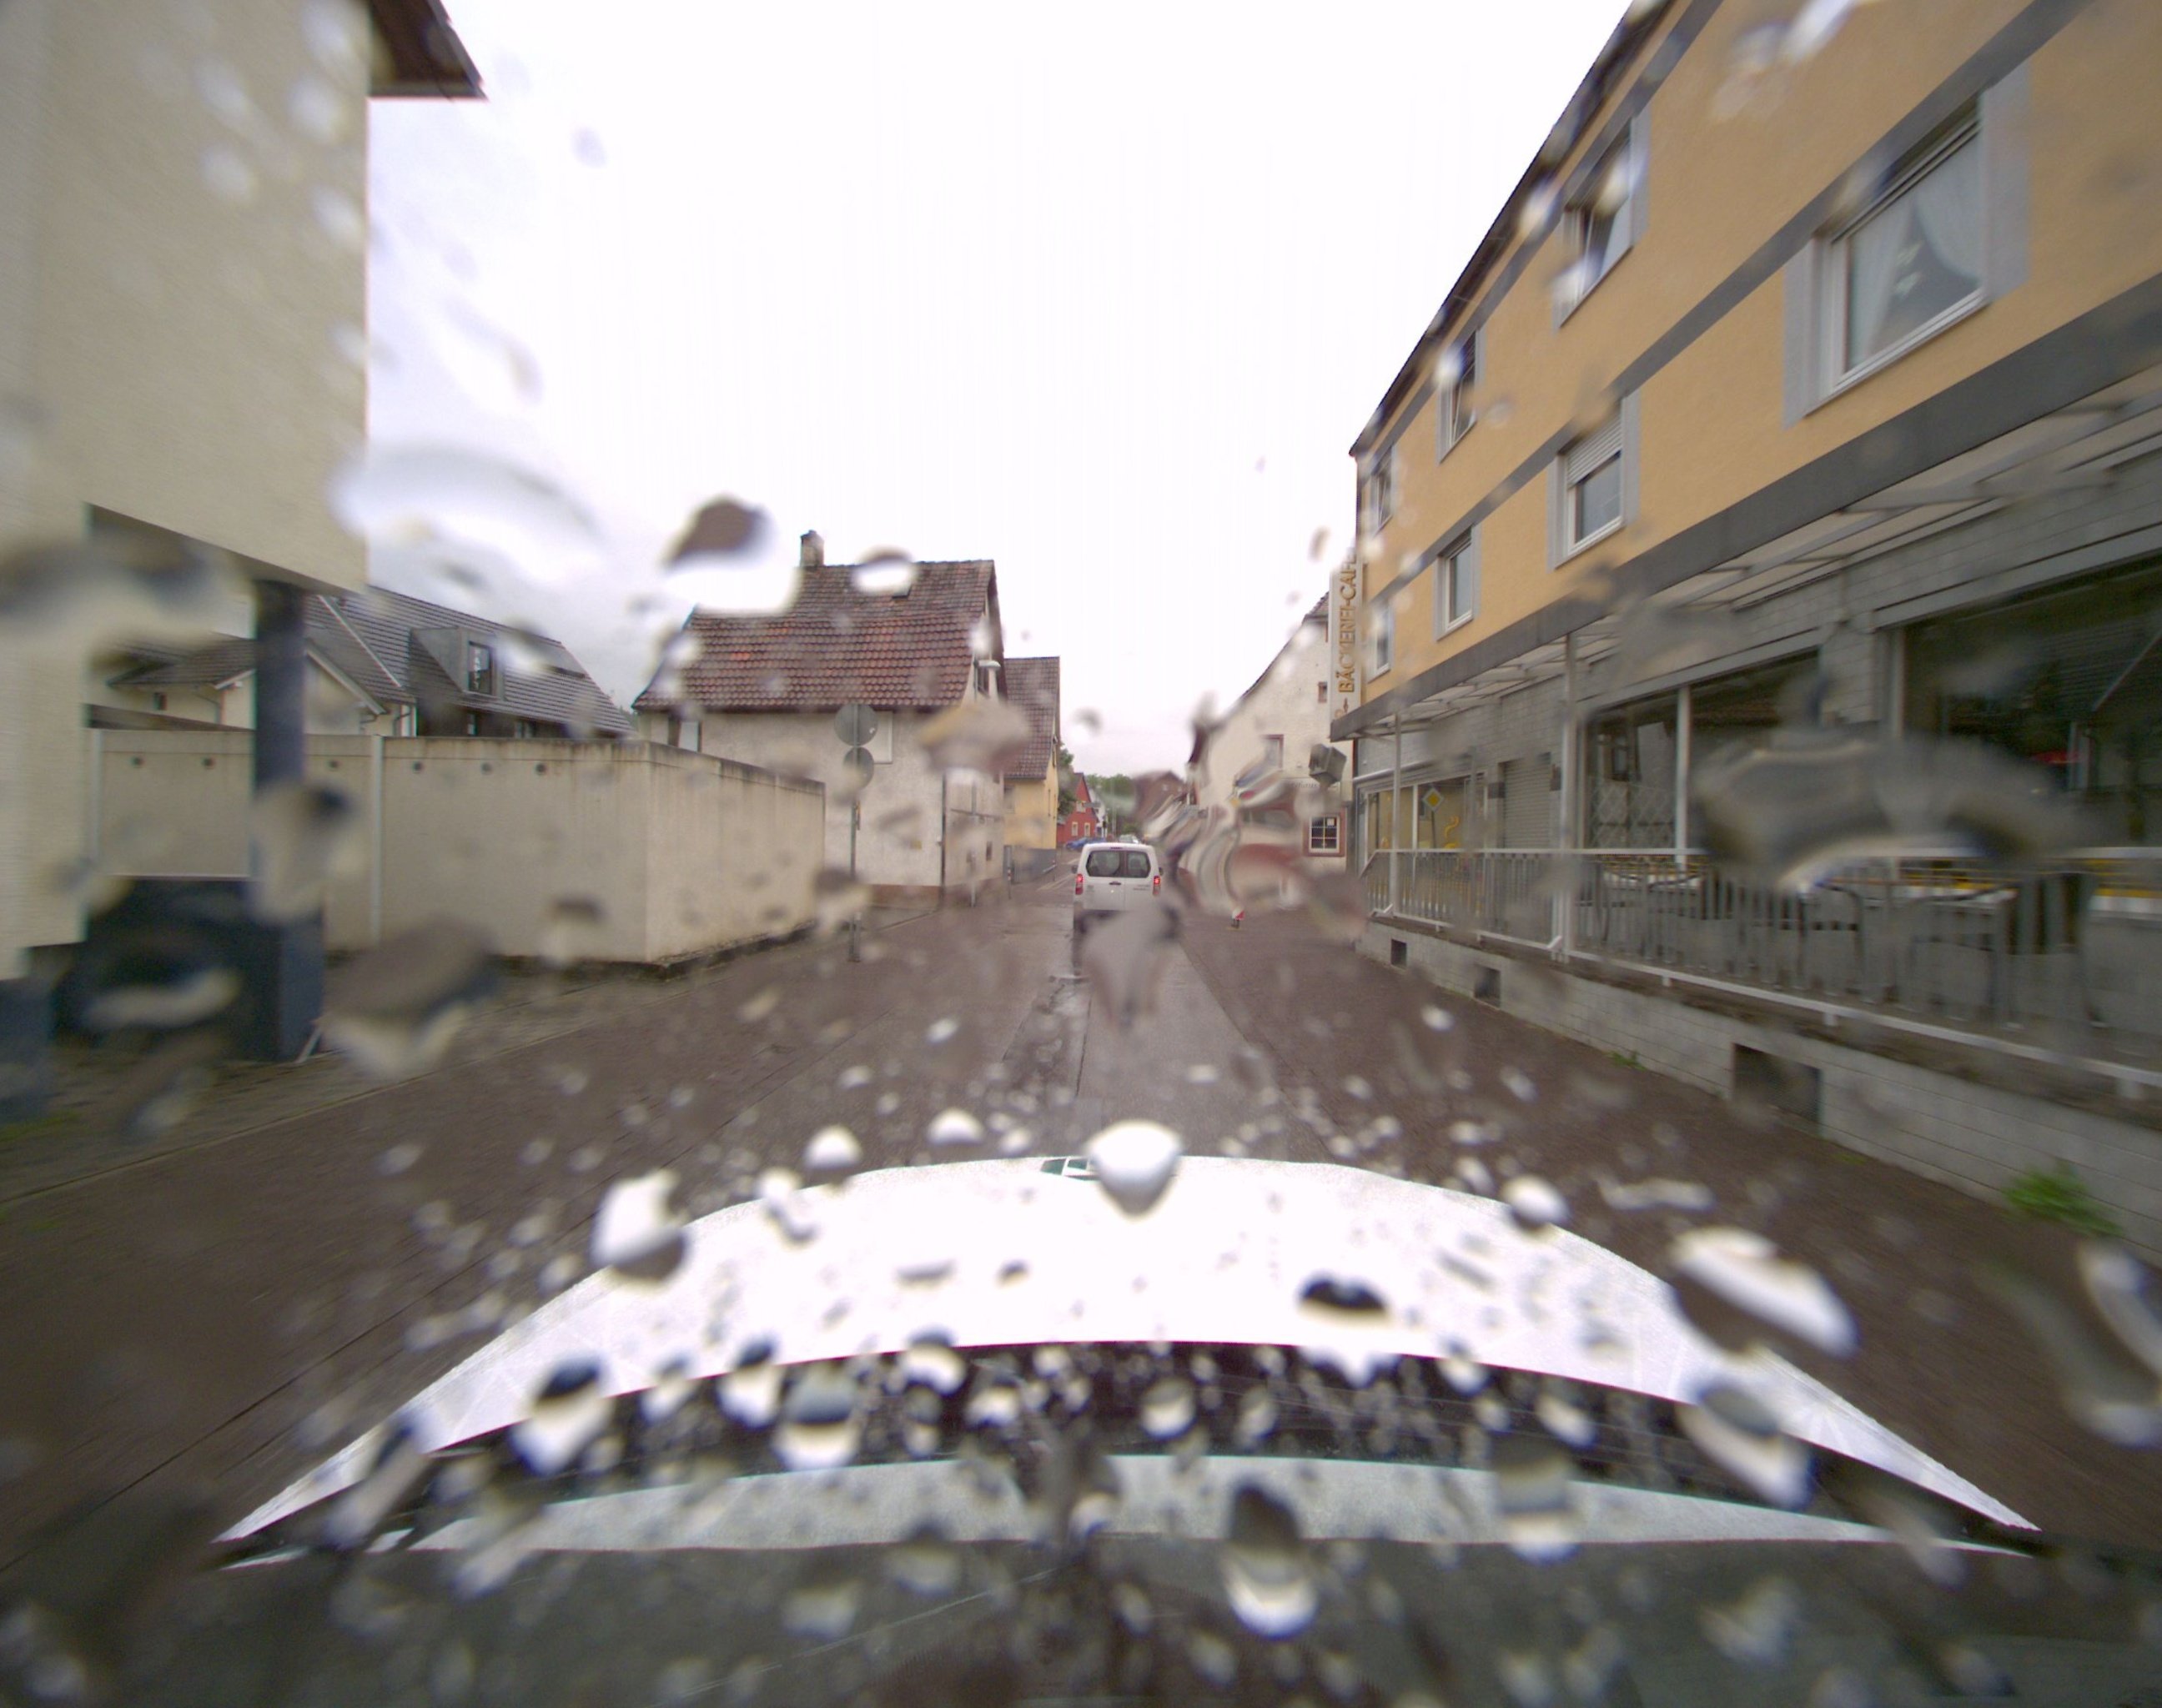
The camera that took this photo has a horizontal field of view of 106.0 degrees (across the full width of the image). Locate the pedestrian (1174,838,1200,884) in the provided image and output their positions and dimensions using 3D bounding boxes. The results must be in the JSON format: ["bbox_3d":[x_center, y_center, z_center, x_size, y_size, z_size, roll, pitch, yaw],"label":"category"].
[{"bbox_3d":[4.154,0.271,31.829,0.988,1.735,0.813,1,3,8],"label":"pedestrian"}]

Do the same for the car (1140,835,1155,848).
[{"bbox_3d":[9.621,-1.811,118.588,1.985,1.747,4.003,0,1,2],"label":"car"}]

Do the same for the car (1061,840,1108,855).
[{"bbox_3d":[0.347,-0.646,76.769,4.015,1.373,2.089,0,0,-33],"label":"car"}]

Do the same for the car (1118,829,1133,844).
[{"bbox_3d":[5.431,-2.119,99.223,1.804,1.778,4.022,0,2,3],"label":"car"}]

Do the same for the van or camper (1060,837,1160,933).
[{"bbox_3d":[0.729,0.602,17.950,1.934,1.851,4.005,1,0,4],"label":"van or camper"}]
